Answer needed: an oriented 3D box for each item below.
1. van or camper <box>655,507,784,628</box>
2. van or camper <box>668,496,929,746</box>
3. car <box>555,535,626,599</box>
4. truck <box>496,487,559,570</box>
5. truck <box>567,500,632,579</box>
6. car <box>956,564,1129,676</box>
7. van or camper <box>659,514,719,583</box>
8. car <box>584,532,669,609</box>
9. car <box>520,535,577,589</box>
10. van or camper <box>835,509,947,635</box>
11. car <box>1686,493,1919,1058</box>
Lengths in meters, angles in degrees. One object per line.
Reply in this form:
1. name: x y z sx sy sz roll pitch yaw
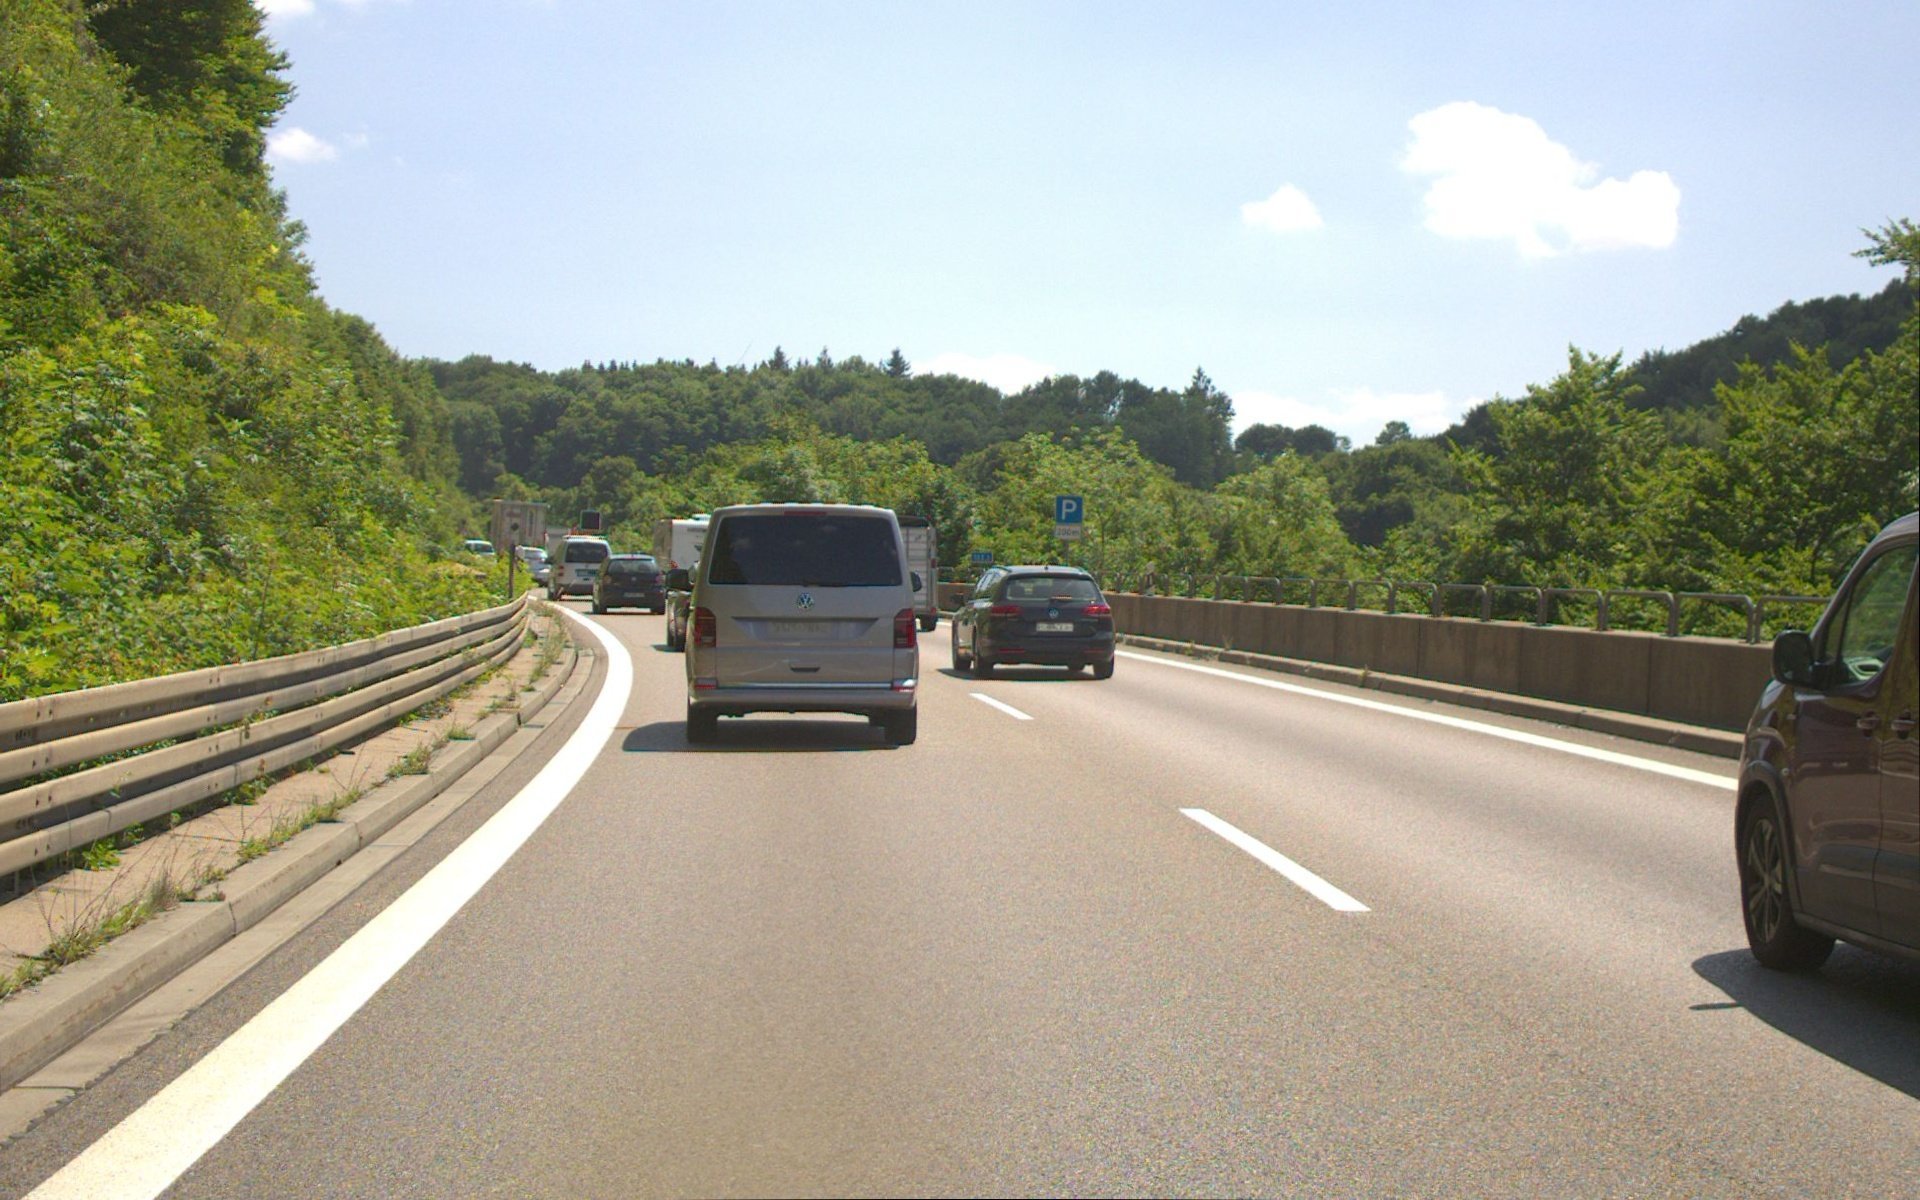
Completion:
1. van or camper: -7.954 -1.091 112.675 3.275 3.776 8.114 1 1 -10
2. van or camper: -1.442 0.150 29.077 1.875 1.943 4.295 0 0 -7
3. car: -10.786 -0.970 100.486 1.993 1.811 4.001 1 1 -6
4. truck: -24.466 -3.997 194.248 3.291 4.504 7.731 0 0 -9
5. truck: -20.310 -3.364 194.016 3.291 4.317 7.730 0 0 -3
6. car: 1.036 0.236 45.071 1.768 1.371 3.593 1 1 -6
7. van or camper: -15.247 -2.870 193.982 3.275 3.776 8.112 0 0 -4
8. car: -8.178 -0.725 84.182 1.993 1.811 4.001 1 1 -6
9. car: -14.983 -1.393 125.088 1.993 1.908 4.001 1 1 -7
10. van or camper: -1.445 -0.584 72.002 2.263 2.542 4.737 0 0 -1
11. car: 3.918 0.562 11.440 1.833 1.778 4.676 1 0 -2
